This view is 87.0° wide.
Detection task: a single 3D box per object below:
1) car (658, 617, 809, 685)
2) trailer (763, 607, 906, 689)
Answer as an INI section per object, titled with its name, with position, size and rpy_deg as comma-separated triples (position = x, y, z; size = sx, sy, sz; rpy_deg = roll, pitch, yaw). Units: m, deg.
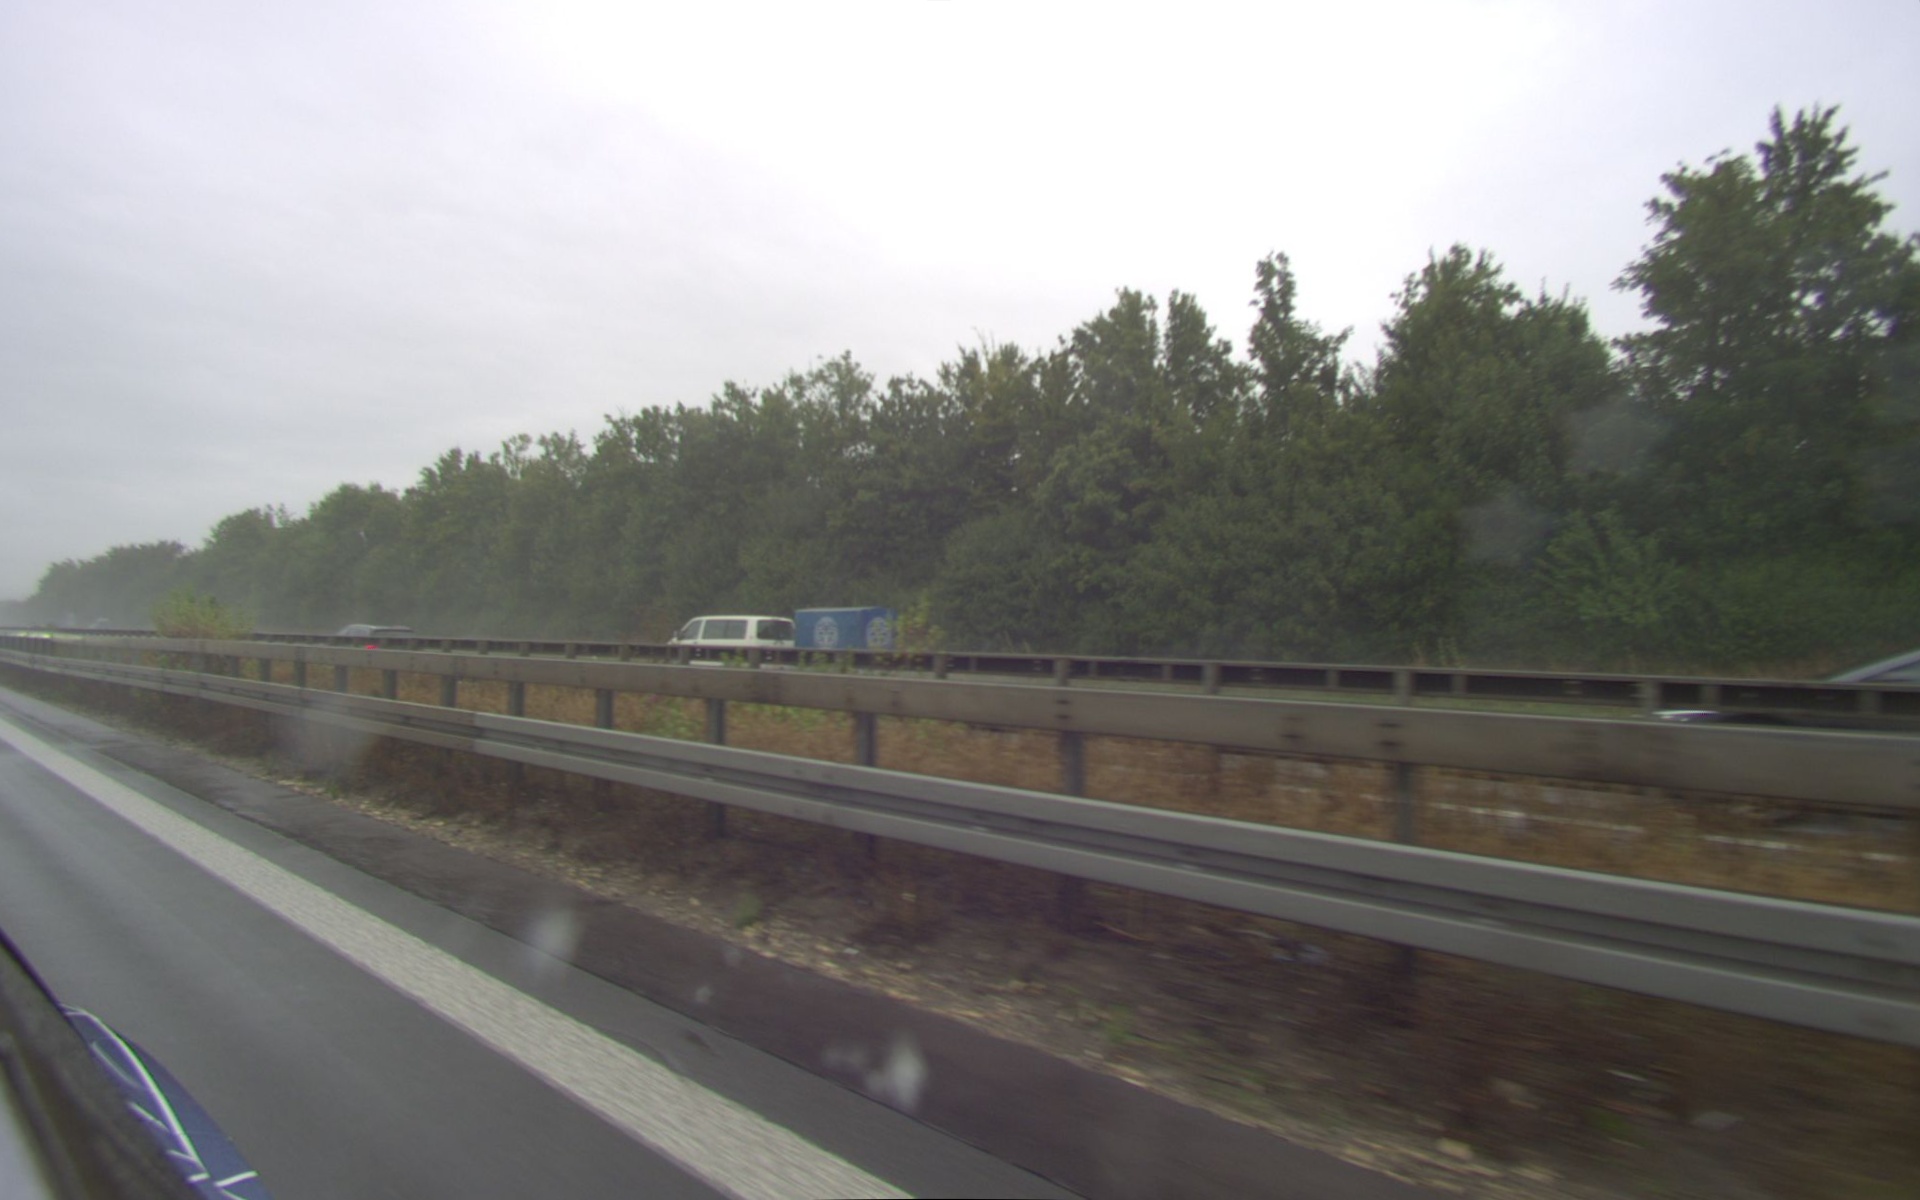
[car]
position = -6.741, 1.447, 29.867
size = 4.720, 1.828, 1.862
rpy_deg = -1, 0, 40
[trailer]
position = -3.397, 1.263, 27.023
size = 4.015, 2.029, 1.400
rpy_deg = -3, -1, 40
